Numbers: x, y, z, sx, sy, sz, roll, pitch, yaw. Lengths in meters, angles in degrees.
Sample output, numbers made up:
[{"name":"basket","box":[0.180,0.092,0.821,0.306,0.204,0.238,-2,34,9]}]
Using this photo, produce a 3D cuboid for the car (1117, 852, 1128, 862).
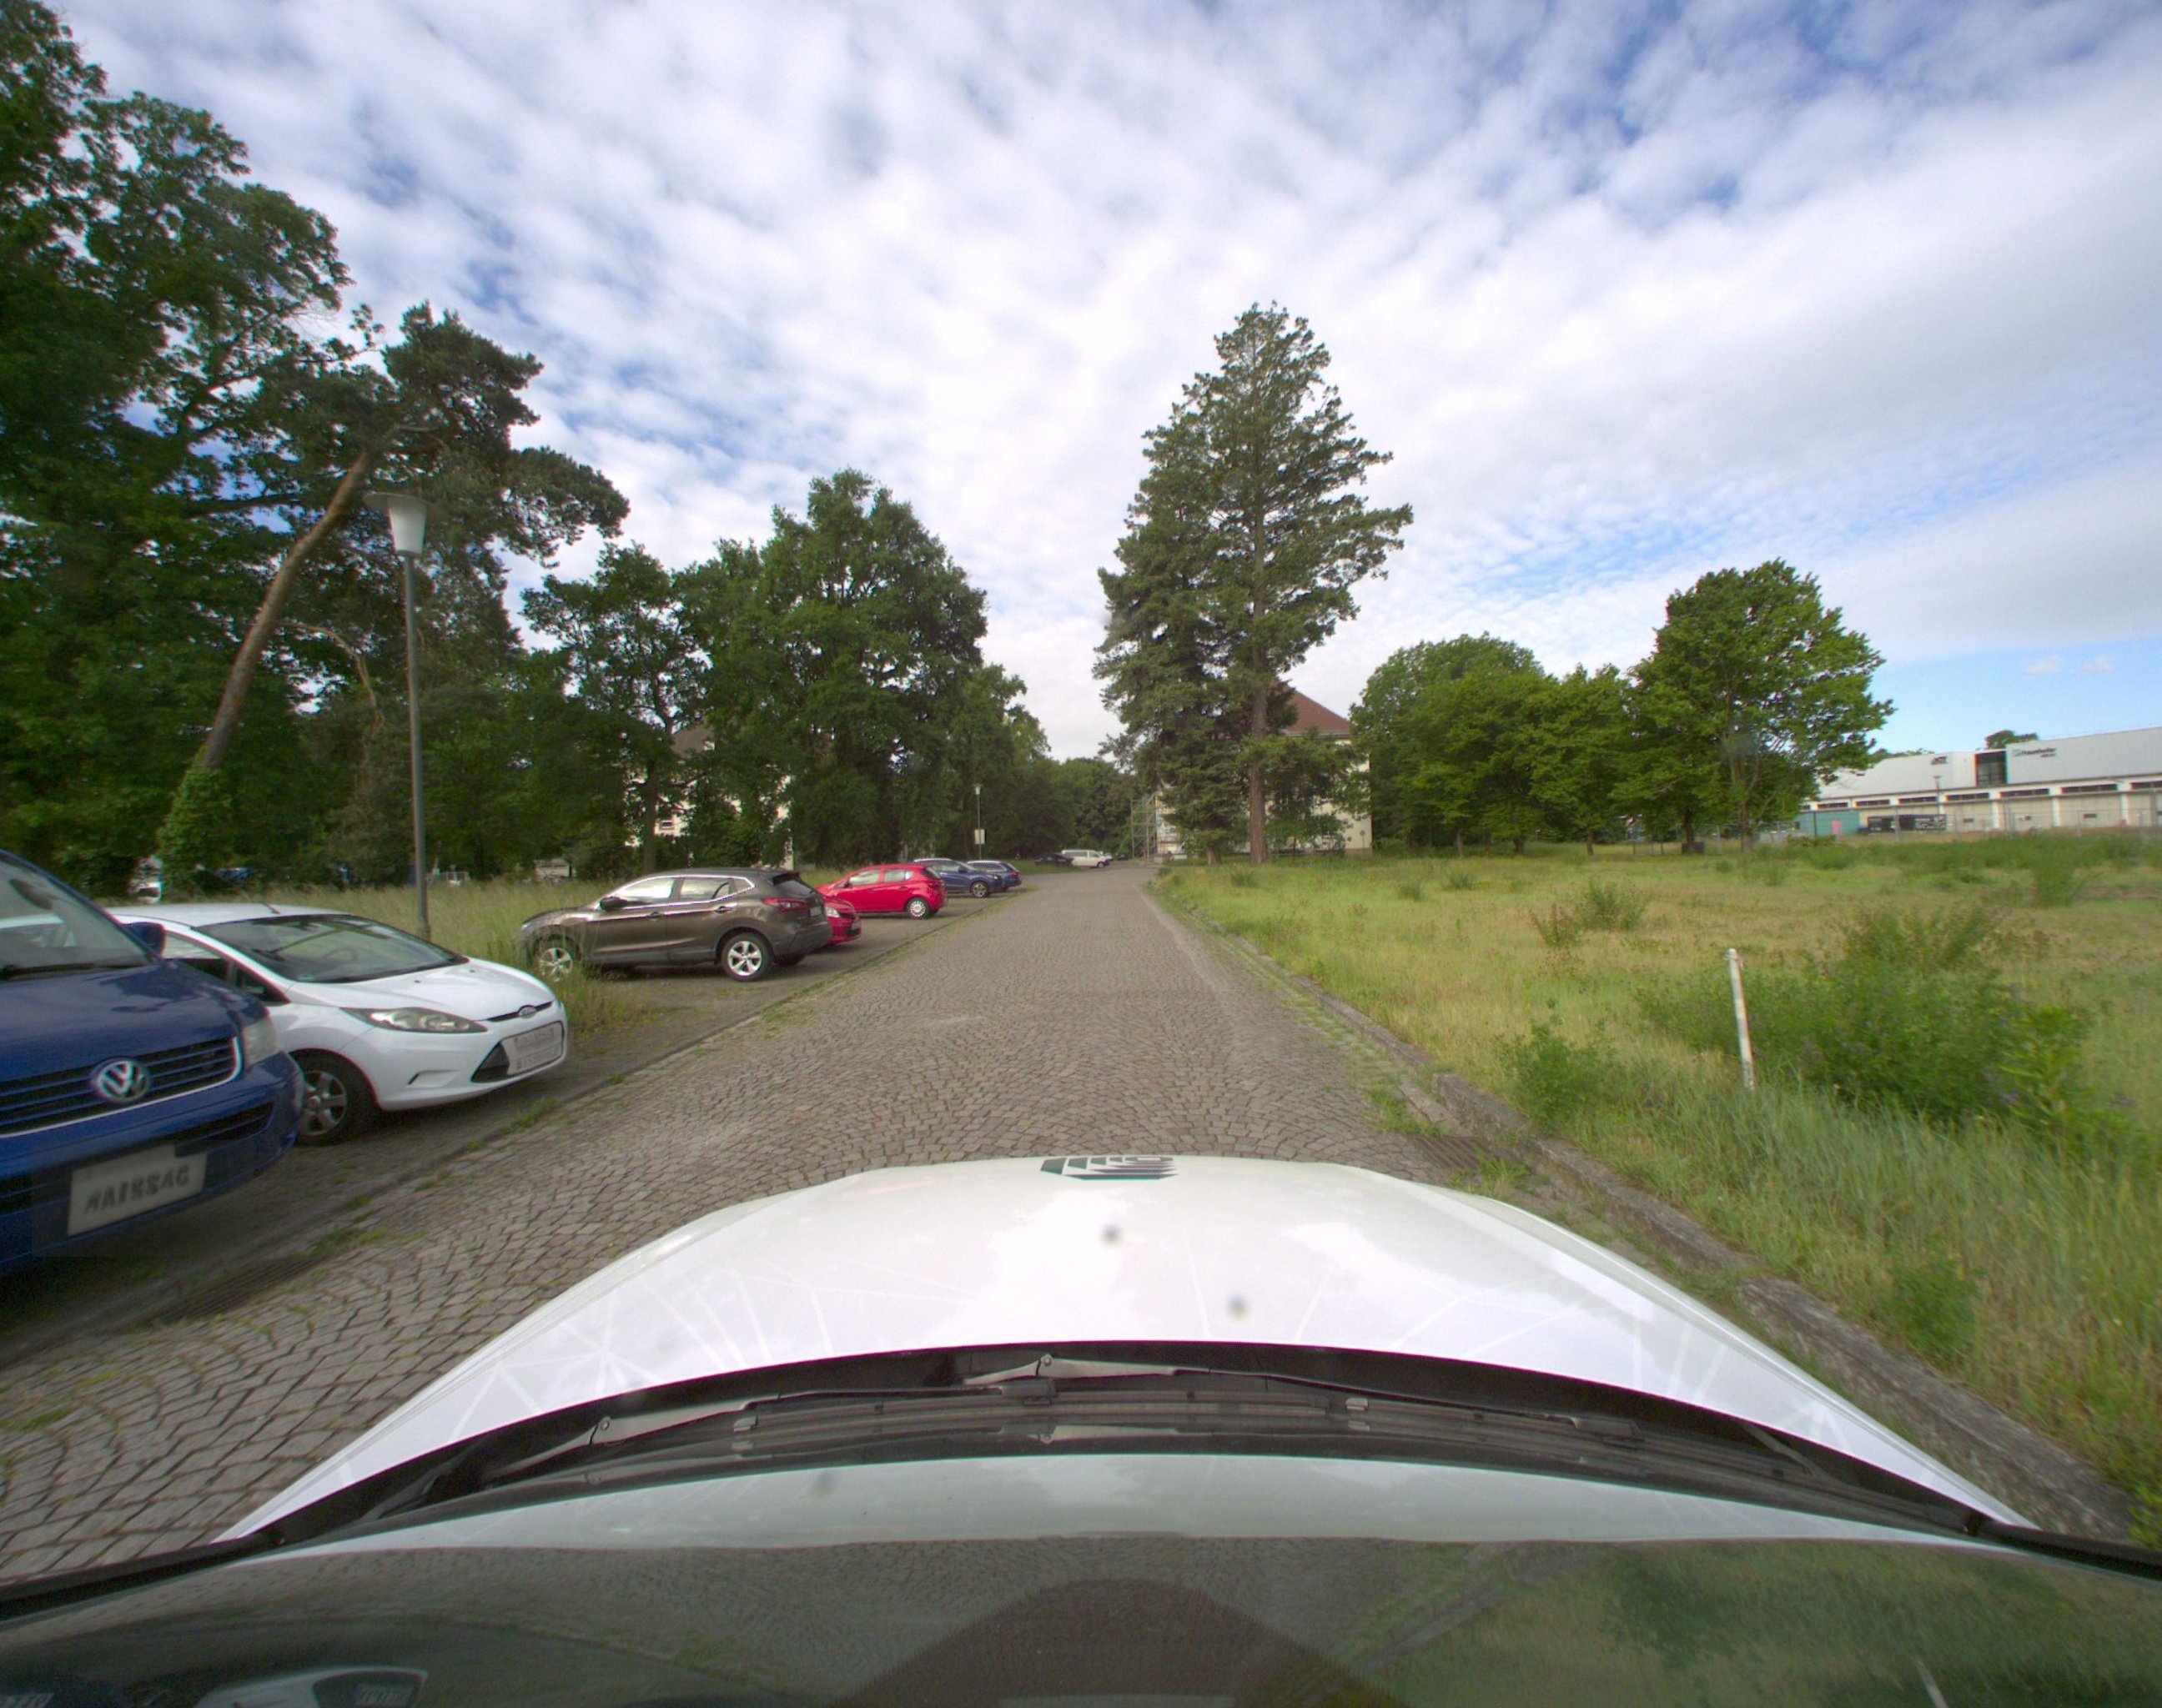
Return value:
[{"name":"car","box":[7.787,0.617,152.593,1.784,1.720,4.060,-2,-2,0]}]

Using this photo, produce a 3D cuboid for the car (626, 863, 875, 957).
[{"name":"car","box":[-5.945,0.986,14.968,3.802,1.486,1.762,-2,0,1]}]

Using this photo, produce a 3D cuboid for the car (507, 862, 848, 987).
[{"name":"car","box":[-5.825,0.975,12.177,4.054,1.575,1.954,-2,0,0]}]

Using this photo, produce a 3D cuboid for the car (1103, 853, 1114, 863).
[{"name":"car","box":[5.166,0.758,152.321,1.784,1.636,4.060,-2,-2,0]}]

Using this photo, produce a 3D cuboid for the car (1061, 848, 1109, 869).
[{"name":"car","box":[0.450,0.510,86.335,4.961,2.073,2.052,-1,-2,0]}]

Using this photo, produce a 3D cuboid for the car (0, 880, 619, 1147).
[{"name":"car","box":[-5.752,1.020,5.876,3.782,1.493,1.725,-2,0,-1]}]

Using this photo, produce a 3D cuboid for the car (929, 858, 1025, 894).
[{"name":"car","box":[-4.749,0.989,37.432,4.052,1.467,1.628,-2,0,5]}]

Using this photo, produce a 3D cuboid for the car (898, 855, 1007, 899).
[{"name":"car","box":[-5.100,0.912,32.740,4.058,1.604,1.787,-2,0,0]}]

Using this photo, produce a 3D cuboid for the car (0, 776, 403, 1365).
[{"name":"car","box":[-5.983,0.790,3.305,4.693,1.980,2.038,-2,0,0]}]

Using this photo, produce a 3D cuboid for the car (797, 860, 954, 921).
[{"name":"car","box":[-5.582,0.981,22.493,3.803,1.489,1.788,-2,0,0]}]
